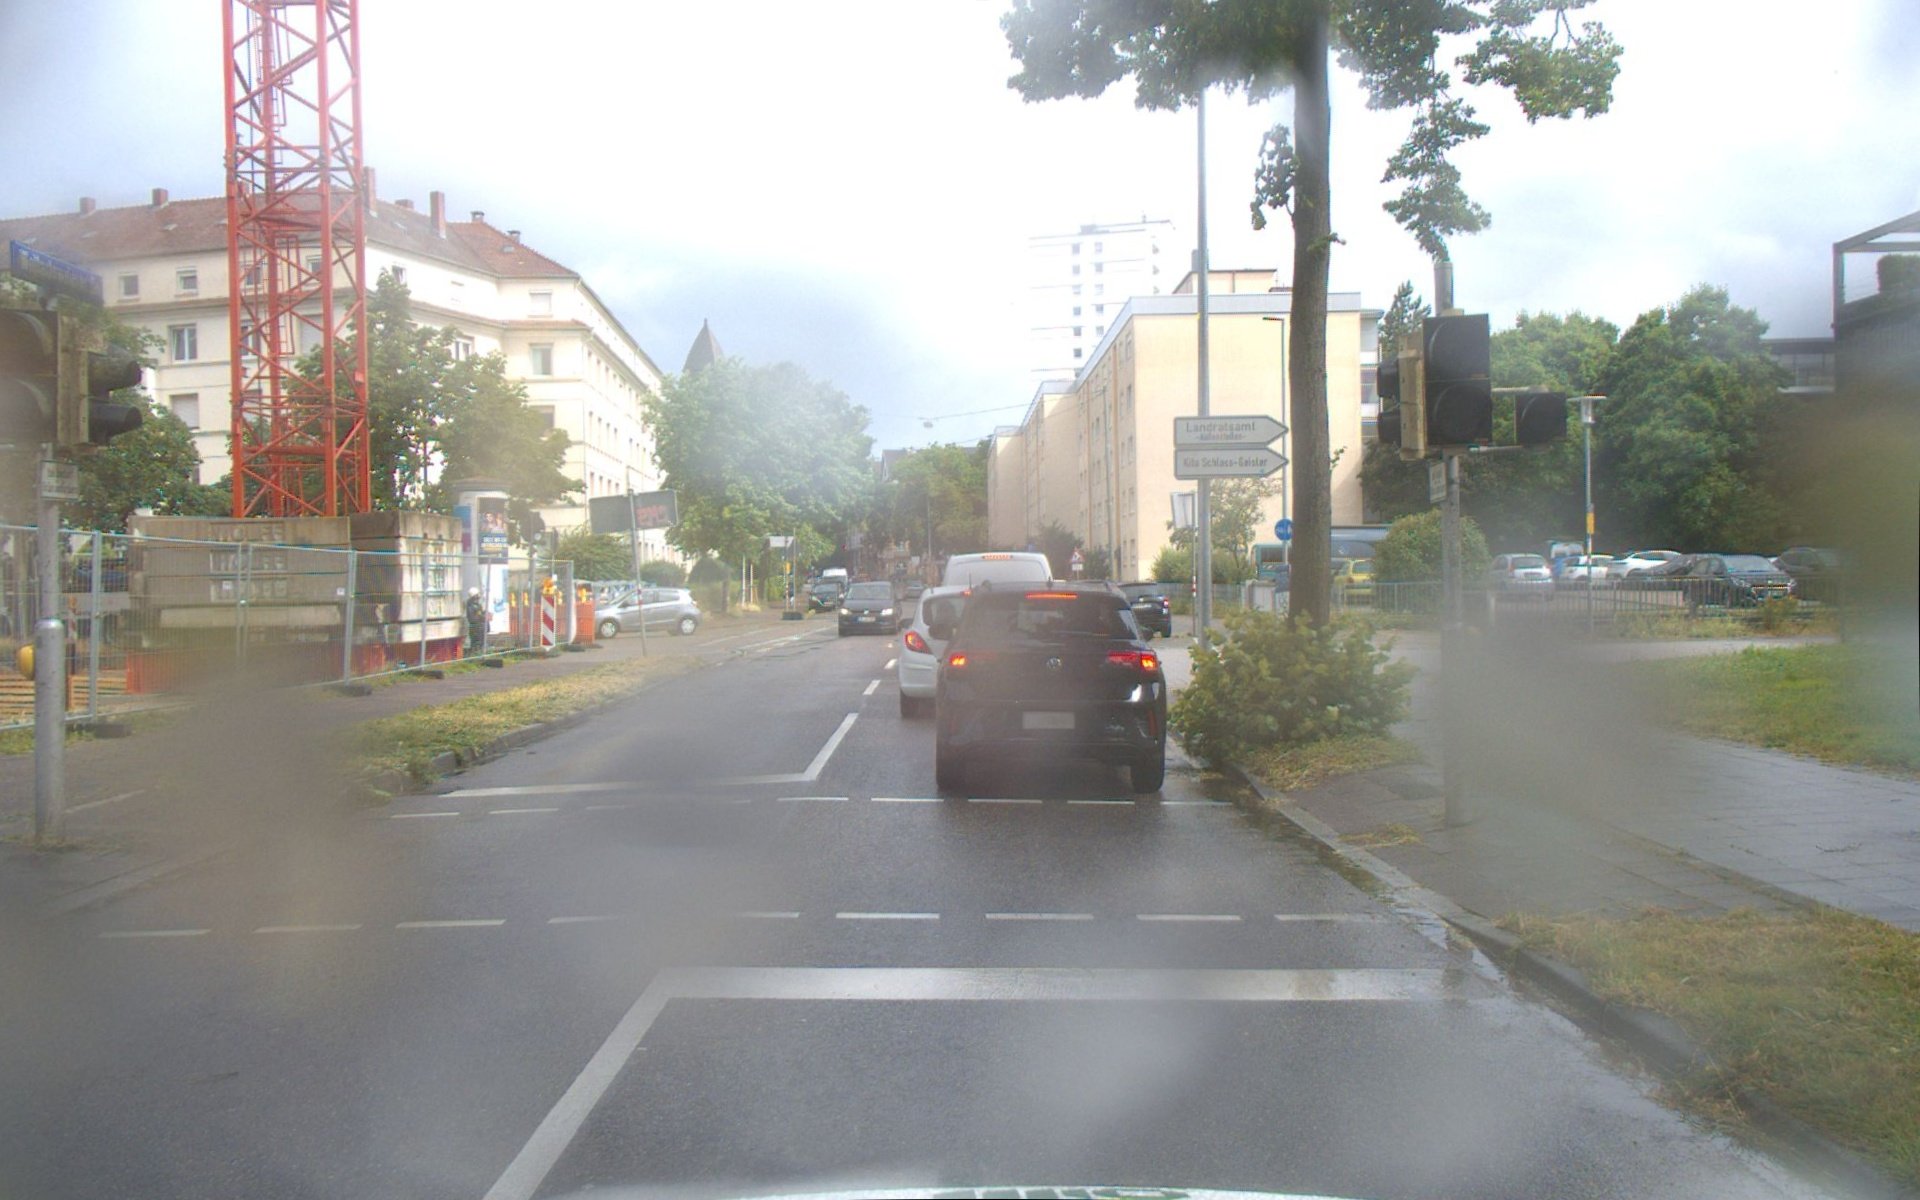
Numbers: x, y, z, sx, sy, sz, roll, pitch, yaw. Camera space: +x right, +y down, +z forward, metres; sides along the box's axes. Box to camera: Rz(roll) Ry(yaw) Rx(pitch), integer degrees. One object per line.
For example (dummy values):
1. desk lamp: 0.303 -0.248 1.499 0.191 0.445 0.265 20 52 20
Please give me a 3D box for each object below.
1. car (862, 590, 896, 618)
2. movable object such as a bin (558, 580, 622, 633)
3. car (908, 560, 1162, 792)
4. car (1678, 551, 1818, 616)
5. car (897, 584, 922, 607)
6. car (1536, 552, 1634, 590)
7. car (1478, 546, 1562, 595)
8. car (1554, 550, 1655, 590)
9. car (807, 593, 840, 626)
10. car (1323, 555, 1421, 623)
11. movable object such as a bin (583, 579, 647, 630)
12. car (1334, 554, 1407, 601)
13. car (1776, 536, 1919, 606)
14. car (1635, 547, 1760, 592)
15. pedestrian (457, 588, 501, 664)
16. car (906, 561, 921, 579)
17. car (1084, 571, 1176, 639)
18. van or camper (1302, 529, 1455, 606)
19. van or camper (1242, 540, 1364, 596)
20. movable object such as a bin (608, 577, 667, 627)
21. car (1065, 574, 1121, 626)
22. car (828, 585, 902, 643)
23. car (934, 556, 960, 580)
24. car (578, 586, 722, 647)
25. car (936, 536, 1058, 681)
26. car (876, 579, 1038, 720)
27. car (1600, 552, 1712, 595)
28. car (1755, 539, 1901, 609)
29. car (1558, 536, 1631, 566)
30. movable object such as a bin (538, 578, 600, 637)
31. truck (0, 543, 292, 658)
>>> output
1. car: -5.100 0.228 104.419 1.803 1.636 4.001 -3 1 1
2. movable object such as a bin: -12.531 0.207 56.027 1.505 1.685 1.529 -2 1 19
3. car: 0.532 0.555 14.067 1.835 1.674 4.061 1 0 -1
4. car: 20.558 -0.444 43.343 1.790 1.553 4.426 -2 1 4
5. car: -3.836 -0.340 126.424 1.705 1.636 3.676 -3 1 1
6. car: 26.993 -1.241 71.464 3.590 1.512 1.640 -2 1 3
7. car: 18.450 -0.980 54.668 1.614 1.512 3.720 -2 1 2
8. car: 26.877 -1.241 69.030 3.590 1.512 1.640 -2 1 3
9. car: -6.893 0.461 83.284 1.555 1.532 4.061 -3 1 -5
10. car: 11.539 -0.329 46.577 1.766 1.780 4.239 -2 1 2
11. movable object such as a bin: -12.014 0.152 57.594 1.505 1.703 1.667 -2 1 19
12. car: 13.672 -0.762 55.202 1.577 1.474 3.417 -2 1 1
13. car: 23.522 -0.761 43.669 1.815 1.708 4.424 -2 1 2
14. car: 27.357 -1.123 61.437 3.892 1.490 1.673 -2 1 1
15. pedestrian: -10.624 0.559 36.535 0.716 1.658 0.675 1 -1 -38
16. car: -5.239 -3.371 185.570 1.632 1.869 3.998 -2 1 -2
17. car: 4.411 0.097 43.446 1.738 1.566 4.377 -4 1 -2
18. van or camper: 14.820 -1.137 58.773 4.895 2.599 2.175 -1 0 1
19. van or camper: 14.279 -1.335 69.062 4.660 2.168 2.323 -1 1 3
20. movable object such as a bin: -11.526 0.075 59.114 1.505 1.691 1.459 -2 1 19
21. car: 4.388 0.036 54.900 1.720 1.554 4.001 2 -1 3
22. car: -2.649 0.362 47.029 1.776 1.567 3.983 0 1 1
23. car: -0.951 -2.351 122.689 1.803 1.636 3.676 -3 1 1
24. car: -9.443 0.493 50.427 3.941 1.665 1.878 -2 -1 -28
25. car: 0.608 0.134 26.678 1.798 2.139 4.001 1 0 1
26. car: -0.044 0.552 20.251 1.776 1.529 4.000 1 0 0
27. car: 26.777 -1.031 63.694 3.590 1.512 1.640 -2 1 3
28. car: 22.783 -0.687 43.614 1.814 1.708 4.426 -2 1 5
29. car: 32.517 -2.497 84.771 3.158 1.422 1.509 -2 1 3
30. movable object such as a bin: -12.869 0.232 54.482 1.505 1.856 1.264 -2 1 19
31. truck: -26.357 0.043 52.071 9.606 3.239 3.794 -2 1 18
